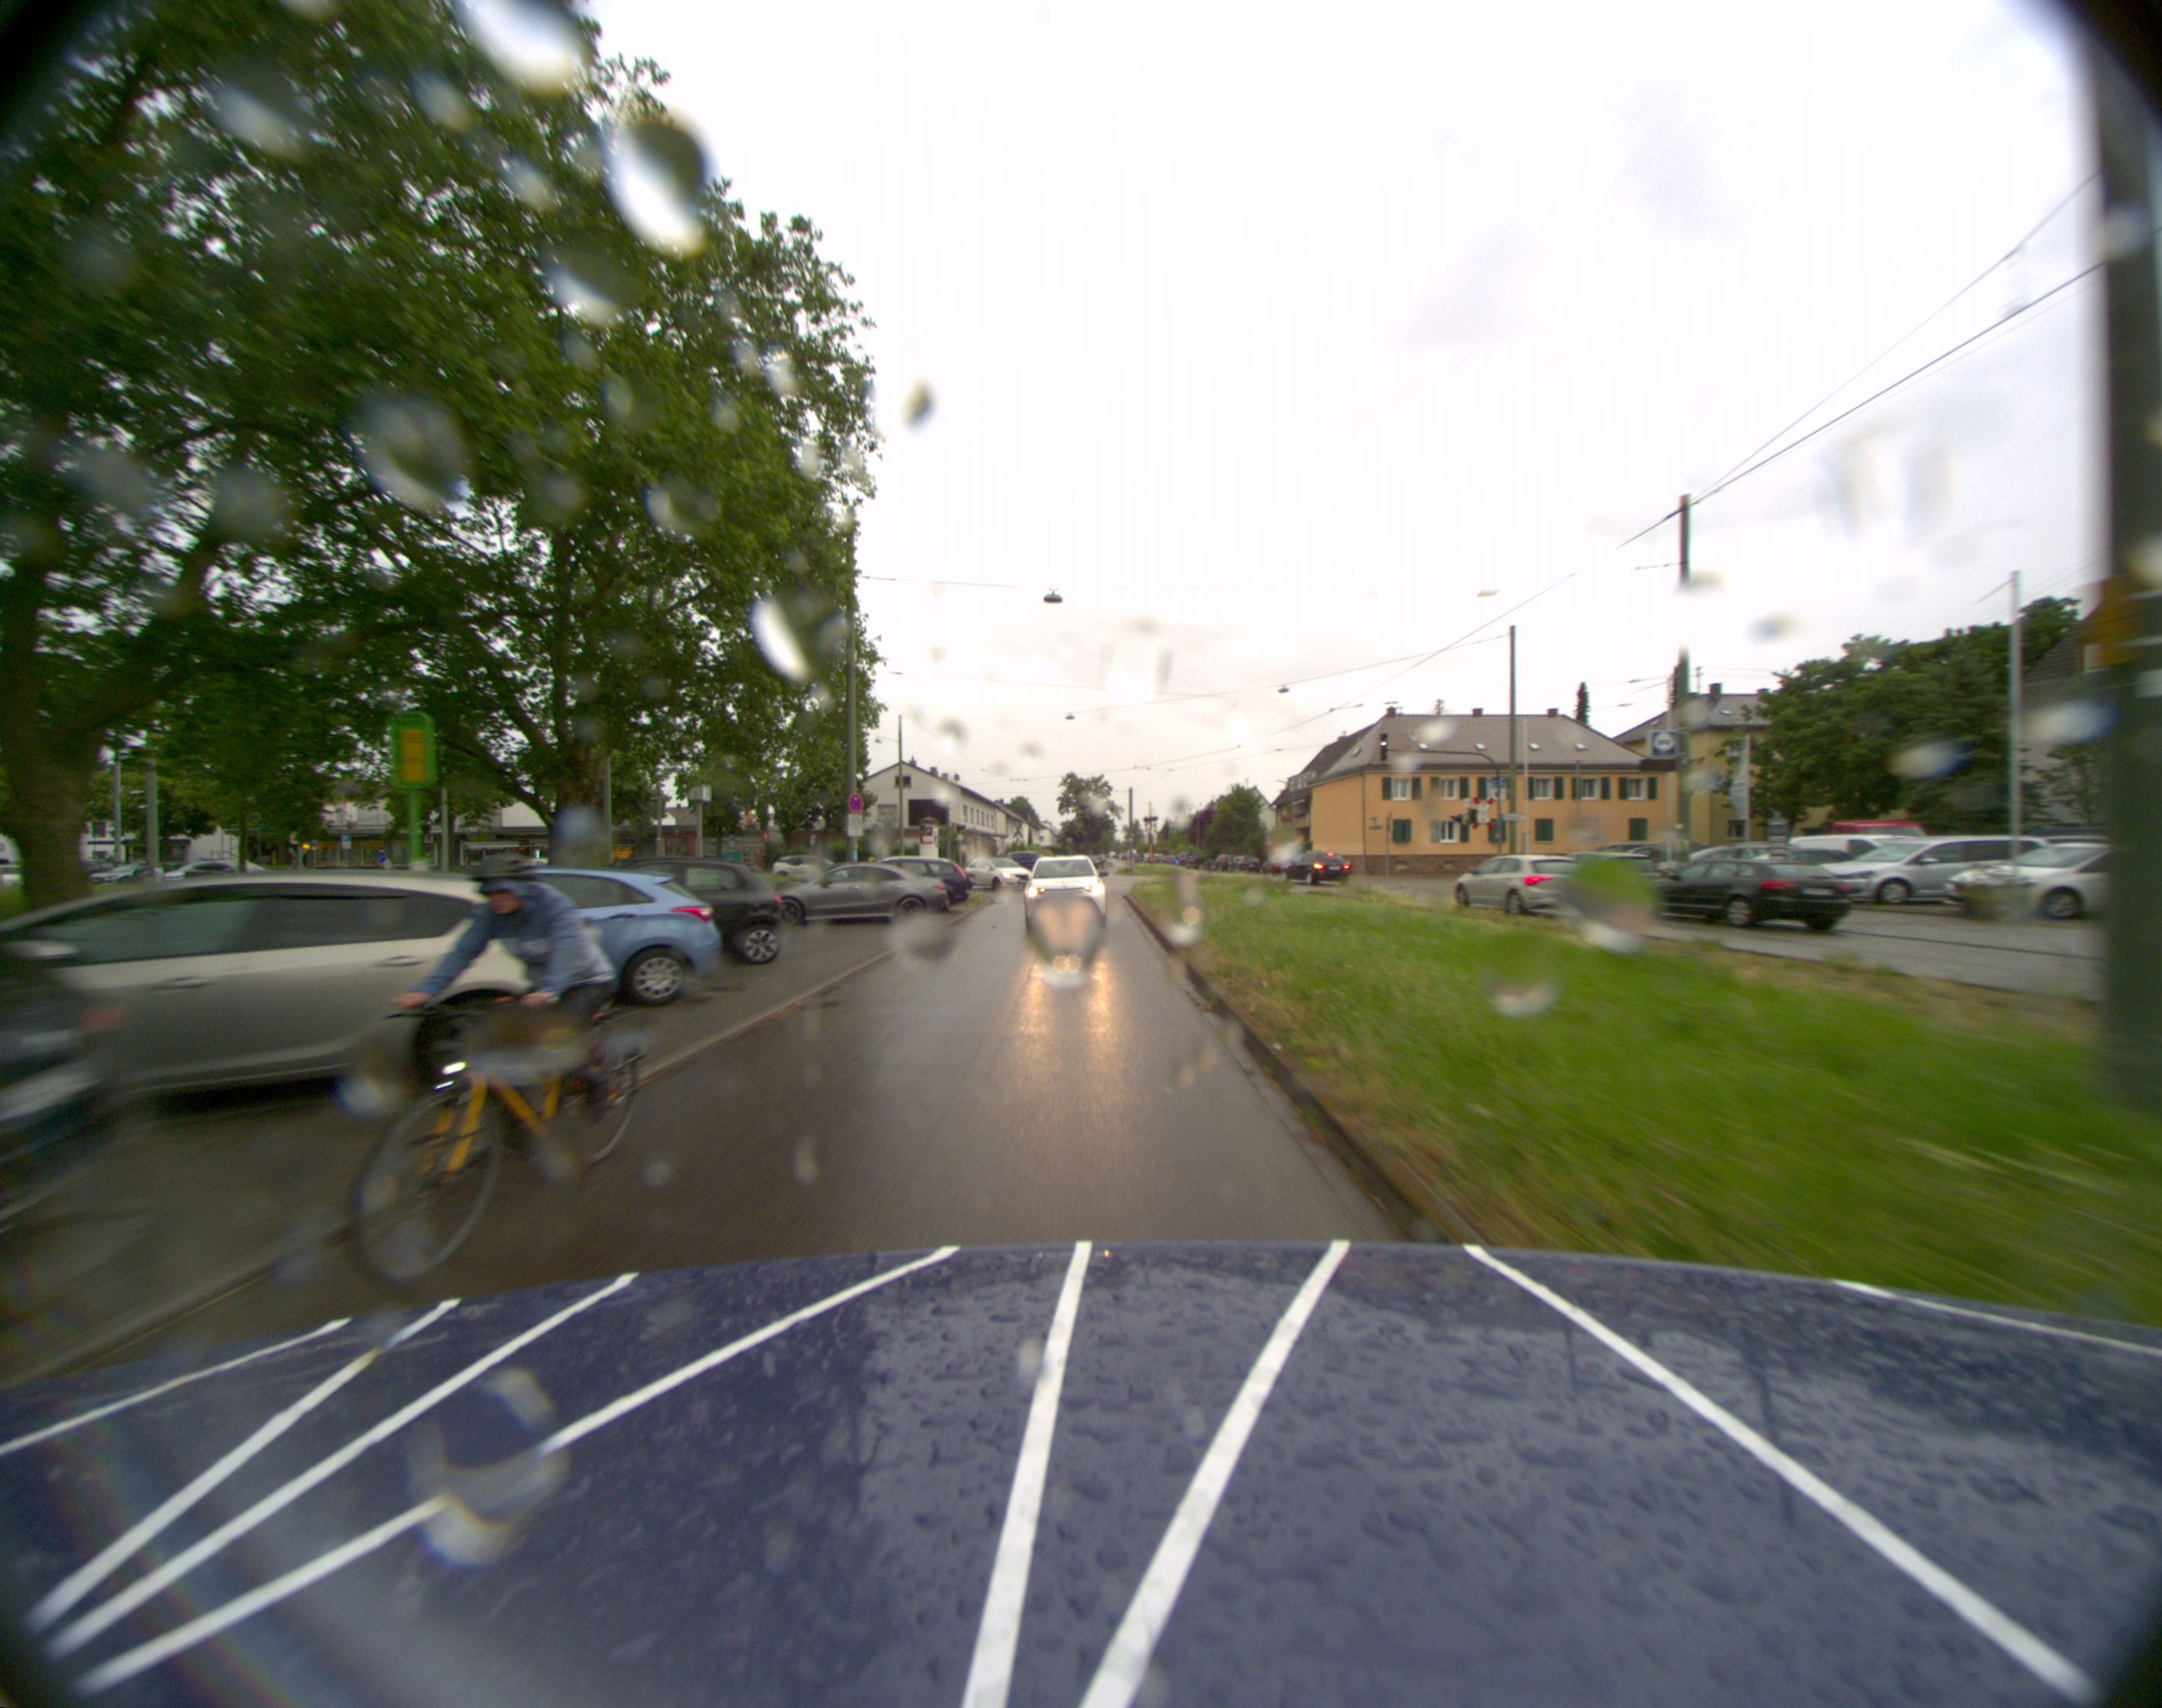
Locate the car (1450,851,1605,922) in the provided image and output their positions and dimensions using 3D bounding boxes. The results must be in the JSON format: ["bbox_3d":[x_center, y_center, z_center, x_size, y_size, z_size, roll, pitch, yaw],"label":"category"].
[{"bbox_3d":[10.805,0.705,18.720,1.604,1.416,3.818,0,2,1],"label":"car"}]

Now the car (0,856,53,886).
[{"bbox_3d":[-53.962,0.842,36.672,1.998,1.449,4.844,-1,-1,3],"label":"car"}]

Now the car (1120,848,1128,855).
[{"bbox_3d":[11.686,-0.645,205.672,1.999,1.784,3.998,-1,3,-1],"label":"car"}]

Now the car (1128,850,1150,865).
[{"bbox_3d":[6.228,0.365,82.251,1.999,1.467,3.999,-1,0,-1],"label":"car"}]

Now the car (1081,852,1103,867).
[{"bbox_3d":[1.239,0.621,85.276,1.787,1.454,4.002,0,3,11],"label":"car"}]

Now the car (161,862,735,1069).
[{"bbox_3d":[-5.919,0.921,7.689,4.009,1.492,1.819,3,0,-39],"label":"car"}]

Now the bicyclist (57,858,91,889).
[{"bbox_3d":[-51.586,1.000,38.926,0.725,1.508,0.697,-2,2,-17],"label":"bicyclist"}]

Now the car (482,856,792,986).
[{"bbox_3d":[-6.162,0.831,10.756,3.524,1.497,1.749,1,1,-35],"label":"car"}]

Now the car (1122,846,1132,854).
[{"bbox_3d":[11.034,-0.897,181.360,1.999,1.784,3.998,-1,3,-1],"label":"car"}]

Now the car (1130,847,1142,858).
[{"bbox_3d":[10.250,-0.281,141.791,1.999,1.784,3.998,-1,3,-1],"label":"car"}]

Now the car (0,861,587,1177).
[{"bbox_3d":[-5.641,0.857,4.972,4.007,1.544,1.955,0,2,-34],"label":"car"}]

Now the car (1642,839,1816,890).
[{"bbox_3d":[21.119,0.283,25.010,4.047,1.496,1.836,1,3,29],"label":"car"}]

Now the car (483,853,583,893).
[{"bbox_3d":[-29.935,1.032,41.593,3.996,2.003,1.999,0,3,2],"label":"car"}]

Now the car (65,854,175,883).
[{"bbox_3d":[-62.682,0.896,49.693,1.897,1.700,4.090,-1,2,1],"label":"car"}]

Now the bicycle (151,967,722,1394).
[{"bbox_3d":[-2.531,1.172,3.385,0.754,1.066,1.928,0,-1,7],"label":"bicycle"}]

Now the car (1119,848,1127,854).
[{"bbox_3d":[12.157,-0.883,218.441,1.999,1.784,3.998,-1,3,-1],"label":"car"}]

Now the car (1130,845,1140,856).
[{"bbox_3d":[11.308,-0.756,159.674,1.998,2.023,3.998,0,3,1],"label":"car"}]

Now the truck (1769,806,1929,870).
[{"bbox_3d":[29.958,-0.584,29.973,1.995,2.259,6.112,1,0,20],"label":"truck"}]

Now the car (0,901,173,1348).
[{"bbox_3d":[-5.592,0.930,1.730,4.130,1.471,1.861,1,0,-31],"label":"car"}]

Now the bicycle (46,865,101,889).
[{"bbox_3d":[-51.588,1.161,38.928,0.729,1.123,1.751,-2,1,-16],"label":"bicycle"}]

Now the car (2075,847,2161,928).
[{"bbox_3d":[21.107,0.595,13.698,3.838,1.388,1.722,0,3,4],"label":"car"}]

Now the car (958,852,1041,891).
[{"bbox_3d":[-3.763,0.746,34.608,1.967,1.544,3.988,0,2,-37],"label":"car"}]

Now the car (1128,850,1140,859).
[{"bbox_3d":[10.668,0.093,152.549,1.999,1.784,3.998,-1,3,-1],"label":"car"}]

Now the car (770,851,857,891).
[{"bbox_3d":[-14.639,0.906,41.752,3.996,2.003,1.999,0,3,2],"label":"car"}]

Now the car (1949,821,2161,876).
[{"bbox_3d":[32.619,-0.170,25.493,1.998,1.677,4.448,0,0,3],"label":"car"}]

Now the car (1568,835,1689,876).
[{"bbox_3d":[21.956,0.070,30.654,3.861,1.569,1.811,-1,0,33],"label":"car"}]

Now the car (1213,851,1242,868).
[{"bbox_3d":[13.202,0.453,68.747,1.759,1.325,3.997,-1,2,-2],"label":"car"}]

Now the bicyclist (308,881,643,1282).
[{"bbox_3d":[-2.546,0.864,3.298,0.752,1.476,0.847,0,0,7],"label":"bicyclist"}]

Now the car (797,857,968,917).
[{"bbox_3d":[-5.402,0.830,20.794,4.183,1.467,1.800,-1,0,-29],"label":"car"}]

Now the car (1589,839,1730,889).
[{"bbox_3d":[21.032,0.357,27.861,3.989,1.707,2.004,0,0,33],"label":"car"}]

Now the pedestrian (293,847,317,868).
[{"bbox_3d":[-65.002,0.302,63.650,0.946,1.704,1.081,1,1,13],"label":"pedestrian"}]

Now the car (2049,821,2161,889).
[{"bbox_3d":[27.792,0.035,18.839,1.998,1.677,4.448,0,0,3],"label":"car"}]

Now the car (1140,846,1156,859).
[{"bbox_3d":[9.982,-0.256,113.449,1.999,1.784,3.998,-1,3,-1],"label":"car"}]

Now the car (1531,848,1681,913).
[{"bbox_3d":[14.306,0.657,20.983,1.721,1.496,3.643,0,2,3],"label":"car"}]

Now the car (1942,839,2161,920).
[{"bbox_3d":[21.068,0.507,16.048,3.613,1.564,1.722,0,3,4],"label":"car"}]

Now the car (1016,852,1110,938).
[{"bbox_3d":[-0.290,0.829,17.149,1.719,1.614,3.715,-2,1,4],"label":"car"}]

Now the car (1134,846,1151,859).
[{"bbox_3d":[8.245,-0.201,101.763,1.998,1.578,3.998,0,3,0],"label":"car"}]

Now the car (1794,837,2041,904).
[{"bbox_3d":[20.911,0.411,19.178,3.865,1.569,1.809,0,0,12],"label":"car"}]

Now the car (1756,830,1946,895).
[{"bbox_3d":[25.660,0.248,25.605,1.998,2.002,4.448,0,0,3],"label":"car"}]

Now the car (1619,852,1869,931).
[{"bbox_3d":[14.121,0.705,16.614,1.721,1.331,4.387,0,2,2],"label":"car"}]

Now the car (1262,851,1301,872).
[{"bbox_3d":[14.204,0.521,54.106,1.722,1.331,3.614,-1,2,-2],"label":"car"}]

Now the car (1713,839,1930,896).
[{"bbox_3d":[21.068,0.330,21.846,4.049,1.496,1.835,0,3,18],"label":"car"}]

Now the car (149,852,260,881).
[{"bbox_3d":[-56.208,0.767,48.857,1.998,1.664,4.336,-1,2,1],"label":"car"}]

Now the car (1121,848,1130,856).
[{"bbox_3d":[11.763,-0.546,200.162,1.999,1.784,3.998,-1,3,-1],"label":"car"}]

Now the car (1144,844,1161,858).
[{"bbox_3d":[9.883,-0.403,105.431,1.999,1.784,3.998,-1,3,-1],"label":"car"}]

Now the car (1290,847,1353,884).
[{"bbox_3d":[11.063,0.467,35.231,1.740,1.478,3.999,0,2,2],"label":"car"}]

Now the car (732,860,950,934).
[{"bbox_3d":[-5.516,0.914,17.609,4.556,1.467,1.800,-1,0,-28],"label":"car"}]

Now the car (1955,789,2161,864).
[{"bbox_3d":[25.223,-0.620,18.980,1.759,1.677,4.448,0,0,3],"label":"car"}]

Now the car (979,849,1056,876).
[{"bbox_3d":[-4.067,0.517,48.944,4.565,1.597,2.001,0,3,12],"label":"car"}]

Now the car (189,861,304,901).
[{"bbox_3d":[-45.072,1.434,41.095,3.996,2.003,1.999,0,3,2],"label":"car"}]

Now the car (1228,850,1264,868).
[{"bbox_3d":[13.623,0.402,62.975,1.966,1.388,4.504,0,1,-1],"label":"car"}]

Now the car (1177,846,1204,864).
[{"bbox_3d":[11.941,0.106,82.916,2.000,1.784,3.996,-1,3,-7],"label":"car"}]

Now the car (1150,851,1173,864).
[{"bbox_3d":[8.781,0.366,83.284,1.999,1.467,3.999,-1,0,-1],"label":"car"}]
